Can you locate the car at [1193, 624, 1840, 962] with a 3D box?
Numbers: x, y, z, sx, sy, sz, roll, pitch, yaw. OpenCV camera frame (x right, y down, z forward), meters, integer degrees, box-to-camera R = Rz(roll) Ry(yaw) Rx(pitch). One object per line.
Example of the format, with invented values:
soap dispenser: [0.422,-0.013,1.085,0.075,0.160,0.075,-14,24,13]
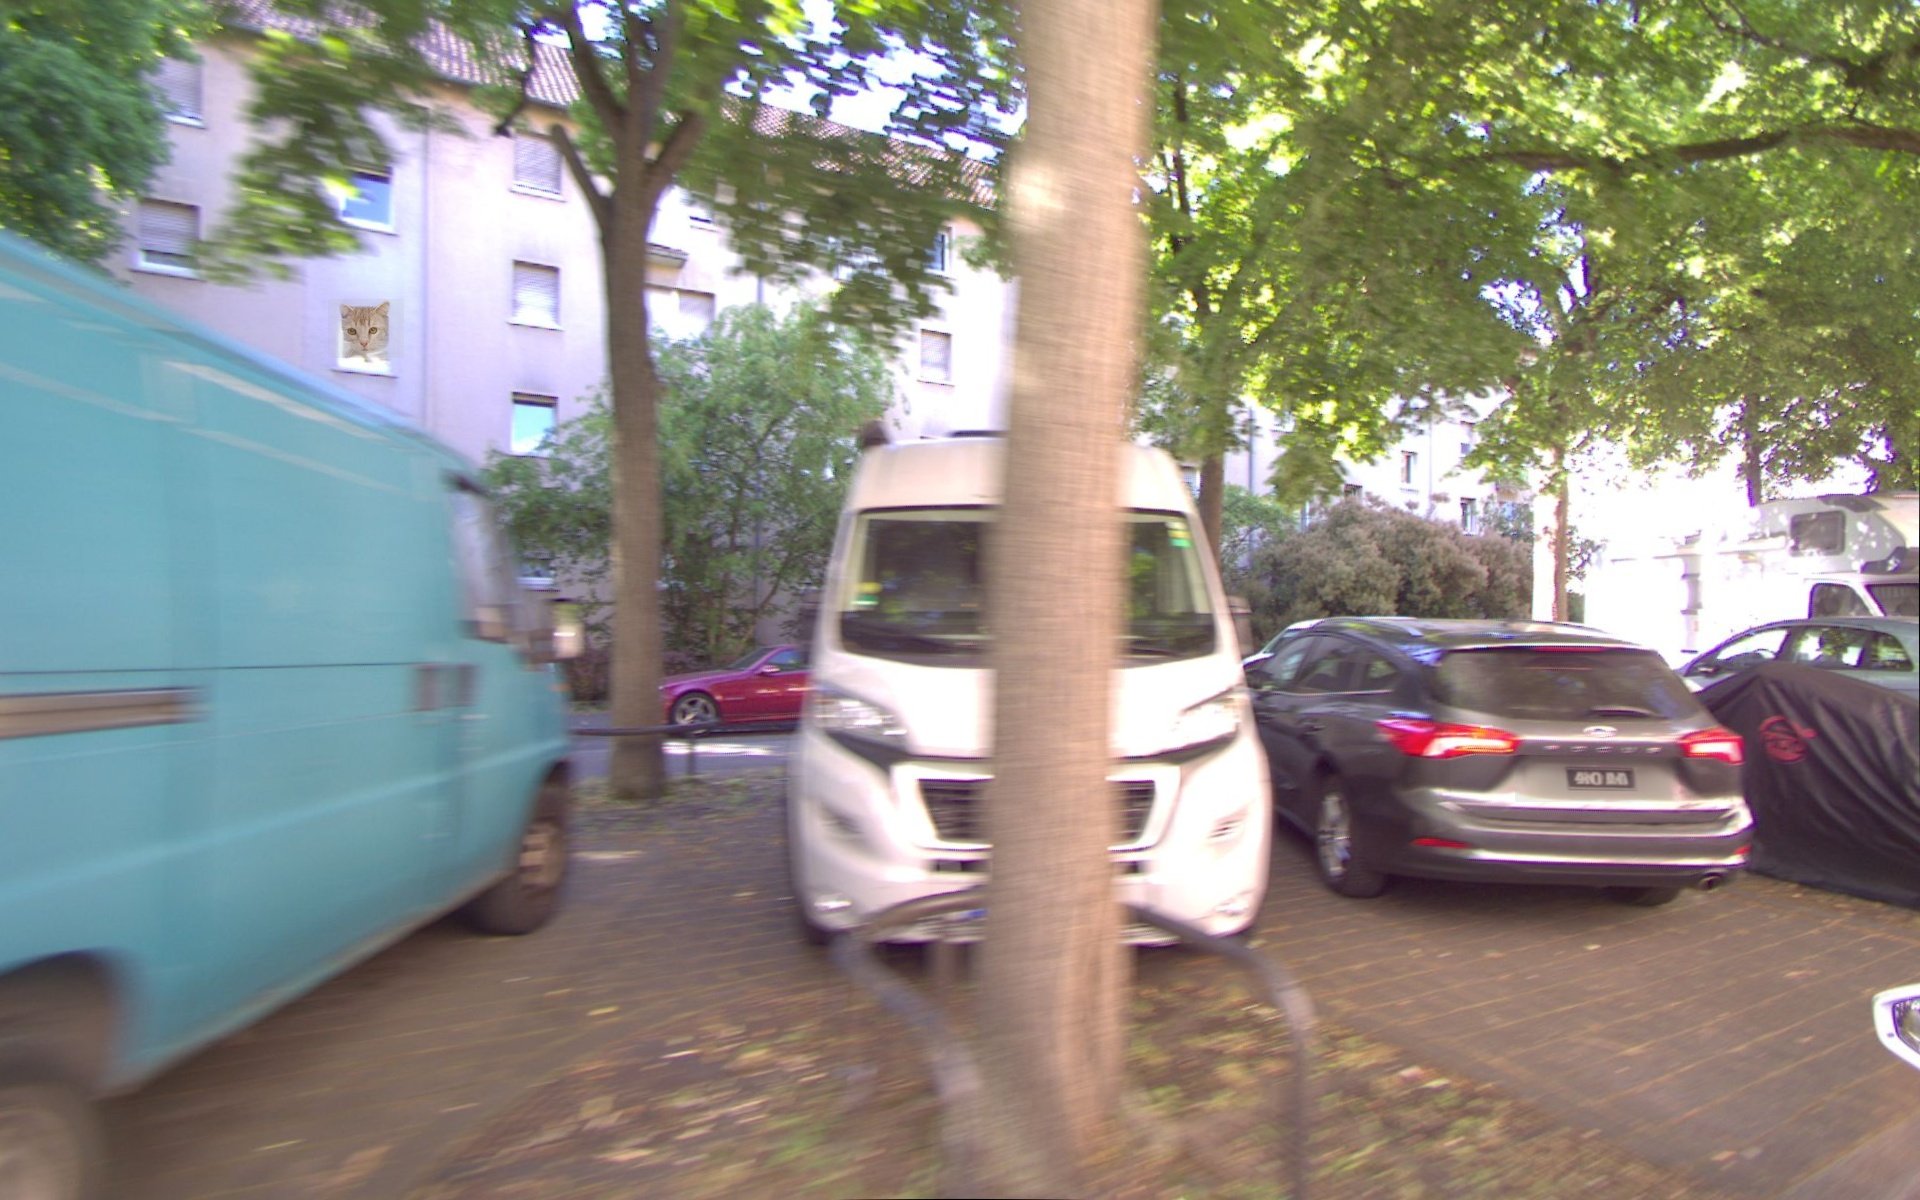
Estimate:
car: [2.848,0.875,6.278,1.787,1.433,3.966,1,-1,-1]

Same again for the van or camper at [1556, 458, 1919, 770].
van or camper: [11.335,0.239,13.679,2.446,3.283,6.679,0,-2,0]

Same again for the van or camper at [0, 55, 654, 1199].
van or camper: [-2.792,0.326,3.461,2.178,2.305,5.513,0,-2,-5]

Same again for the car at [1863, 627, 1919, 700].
car: [22.536,1.413,21.957,1.961,1.628,4.000,0,-2,-1]

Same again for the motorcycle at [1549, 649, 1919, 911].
motorcycle: [4.948,0.968,6.033,0.751,1.275,2.546,1,-1,-20]

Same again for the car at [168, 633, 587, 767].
car: [-7.127,1.148,12.732,4.309,1.443,1.657,1,-1,-29]

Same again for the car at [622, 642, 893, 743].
car: [-2.973,1.289,14.869,3.622,1.291,1.611,1,-1,-29]

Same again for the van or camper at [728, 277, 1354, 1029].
van or camper: [0.329,0.261,6.521,2.210,2.672,5.889,0,-2,1]

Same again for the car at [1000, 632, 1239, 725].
car: [2.857,1.325,17.906,3.915,1.475,1.810,1,-1,-28]

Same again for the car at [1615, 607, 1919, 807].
car: [8.724,0.928,9.926,1.788,1.650,3.965,1,-1,-3]

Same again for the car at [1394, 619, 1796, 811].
car: [5.886,0.955,9.969,1.786,1.493,3.968,0,-1,6]

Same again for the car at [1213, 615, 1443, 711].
car: [7.719,1.273,20.970,4.785,1.827,1.810,1,-3,-28]
